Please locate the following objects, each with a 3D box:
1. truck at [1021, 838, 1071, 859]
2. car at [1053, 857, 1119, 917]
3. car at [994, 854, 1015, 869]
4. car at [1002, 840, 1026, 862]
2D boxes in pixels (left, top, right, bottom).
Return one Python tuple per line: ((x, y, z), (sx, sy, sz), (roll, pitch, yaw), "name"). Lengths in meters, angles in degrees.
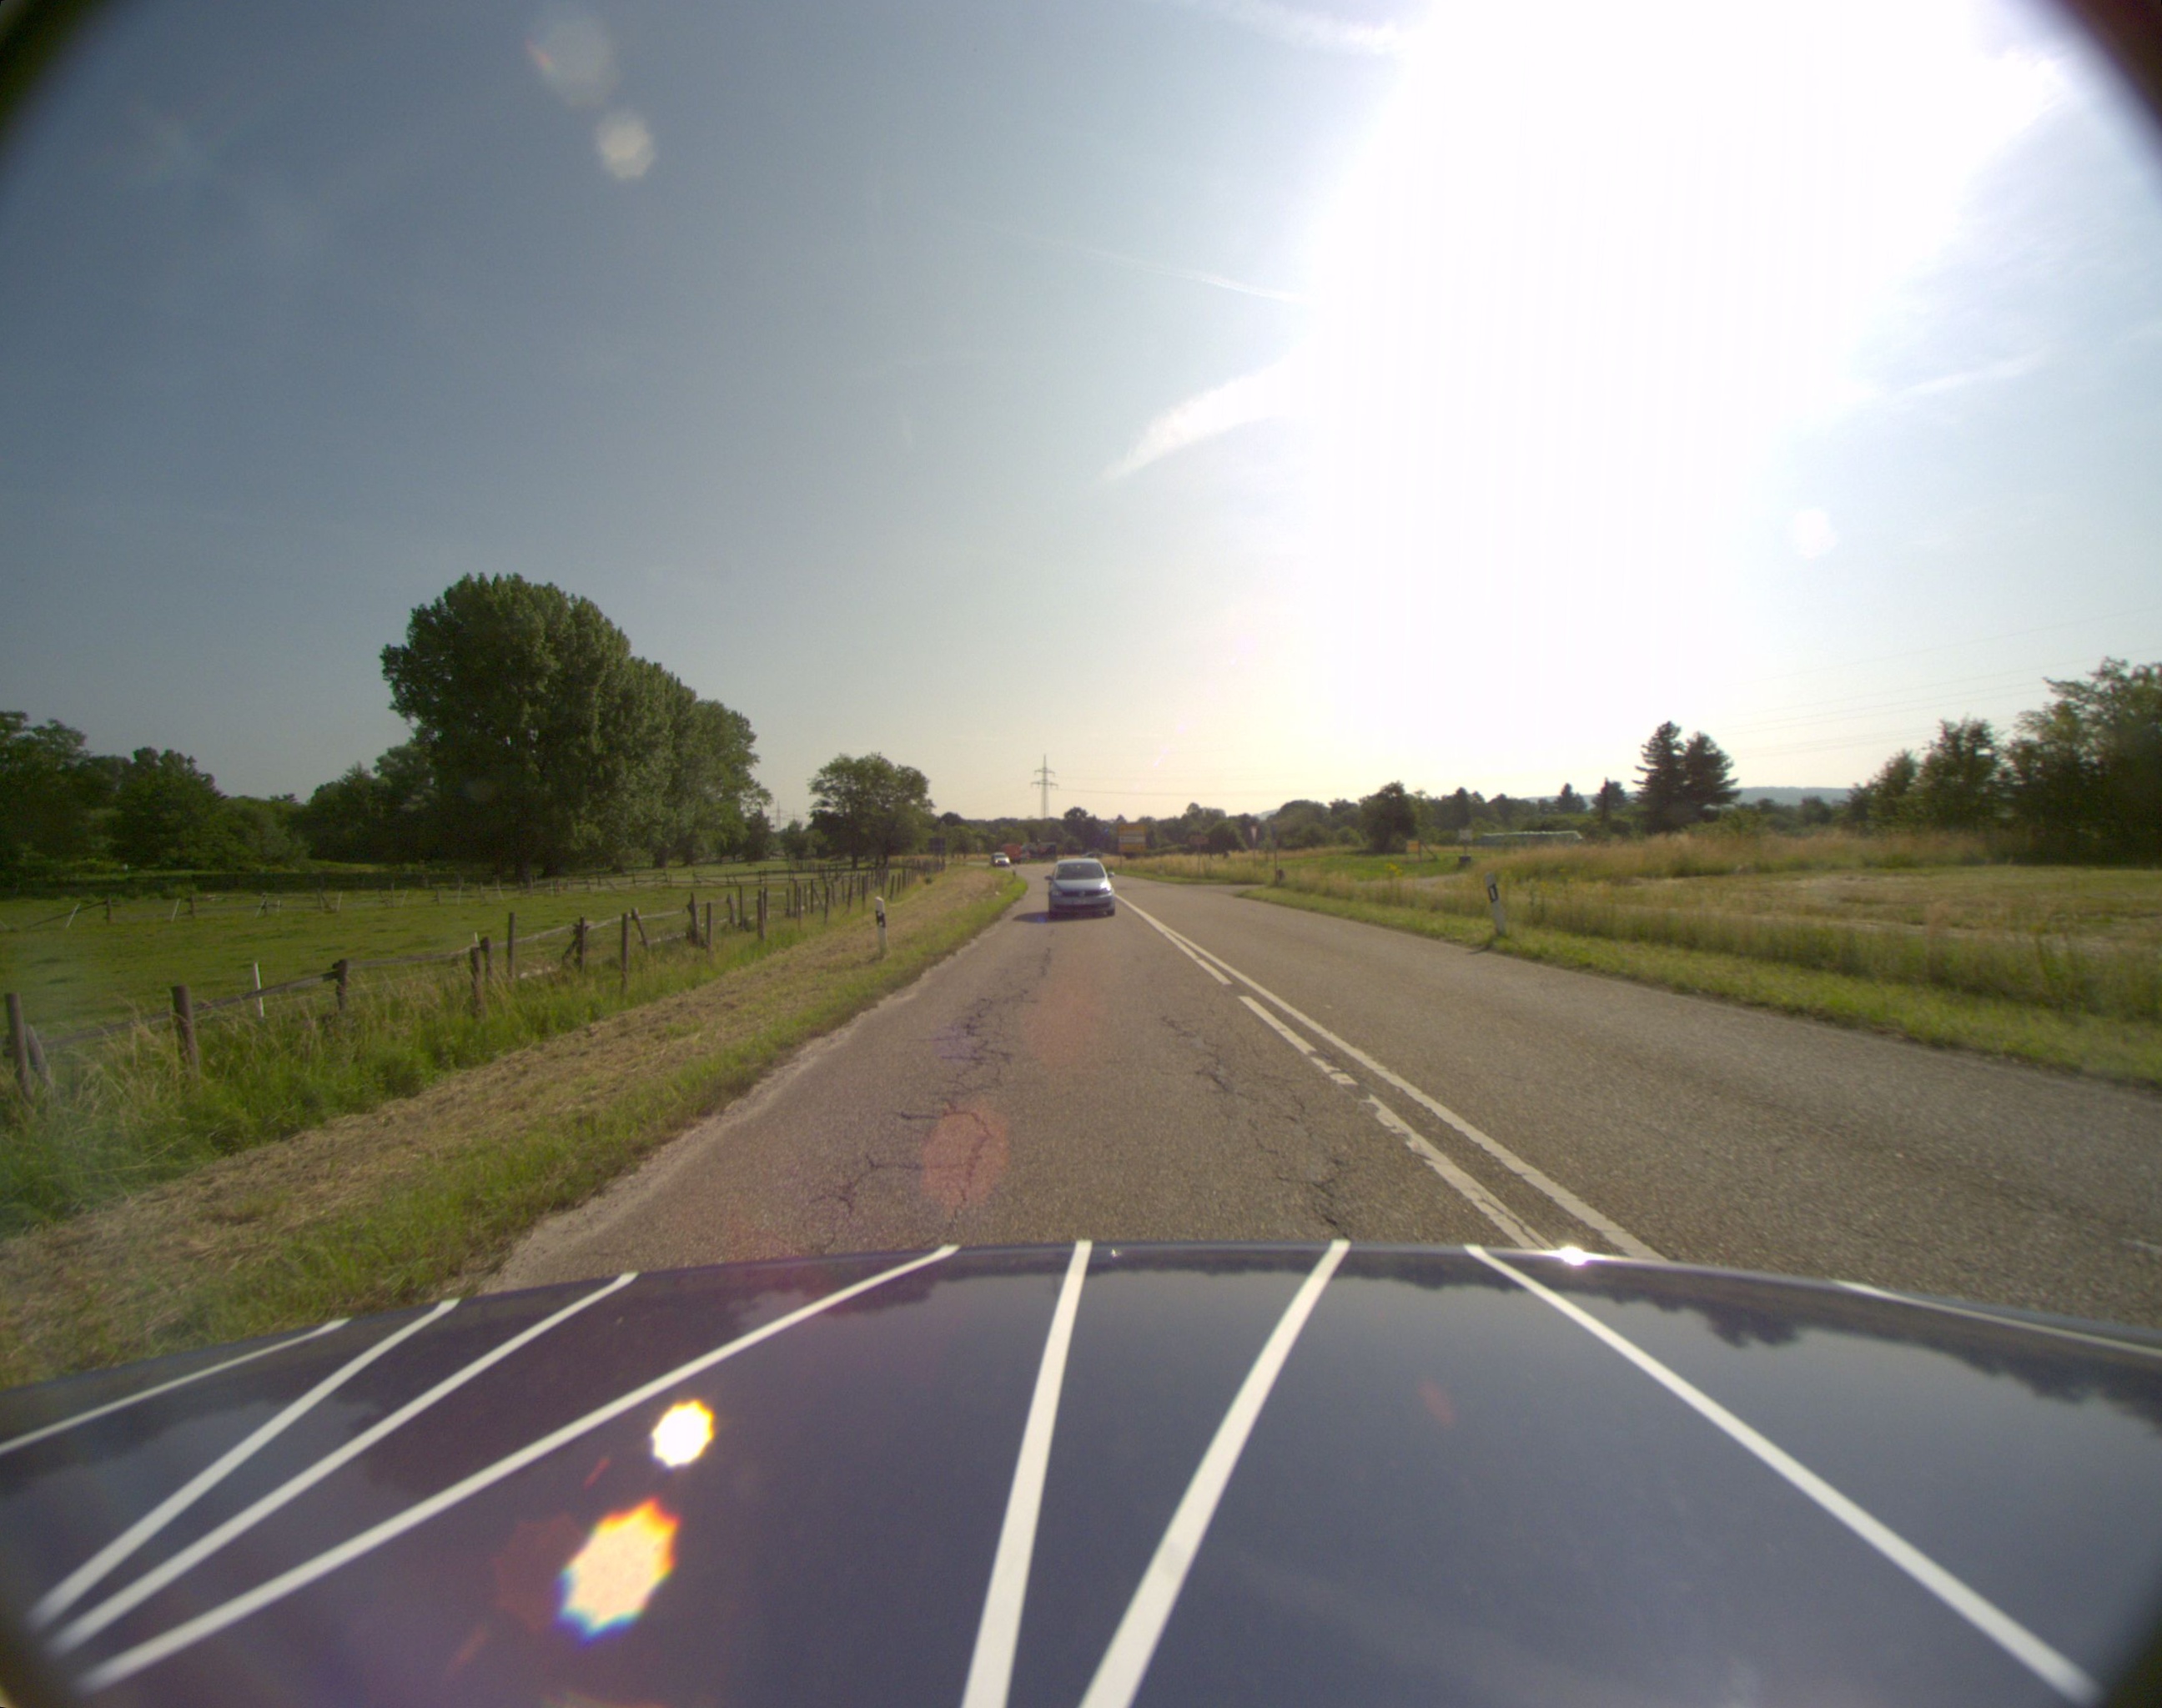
((-5.384, -0.882, 117.671), (7.368, 3.028, 2.581), (-1, 1, -13), "truck")
((0.069, 0.920, 22.873), (1.718, 1.496, 4.092), (-3, 1, -2), "car")
((-8.521, 0.786, 84.376), (2.000, 1.571, 3.905), (-1, 1, -10), "car")
((-8.621, -0.333, 96.985), (2.132, 2.680, 5.261), (-1, 1, -14), "car")
